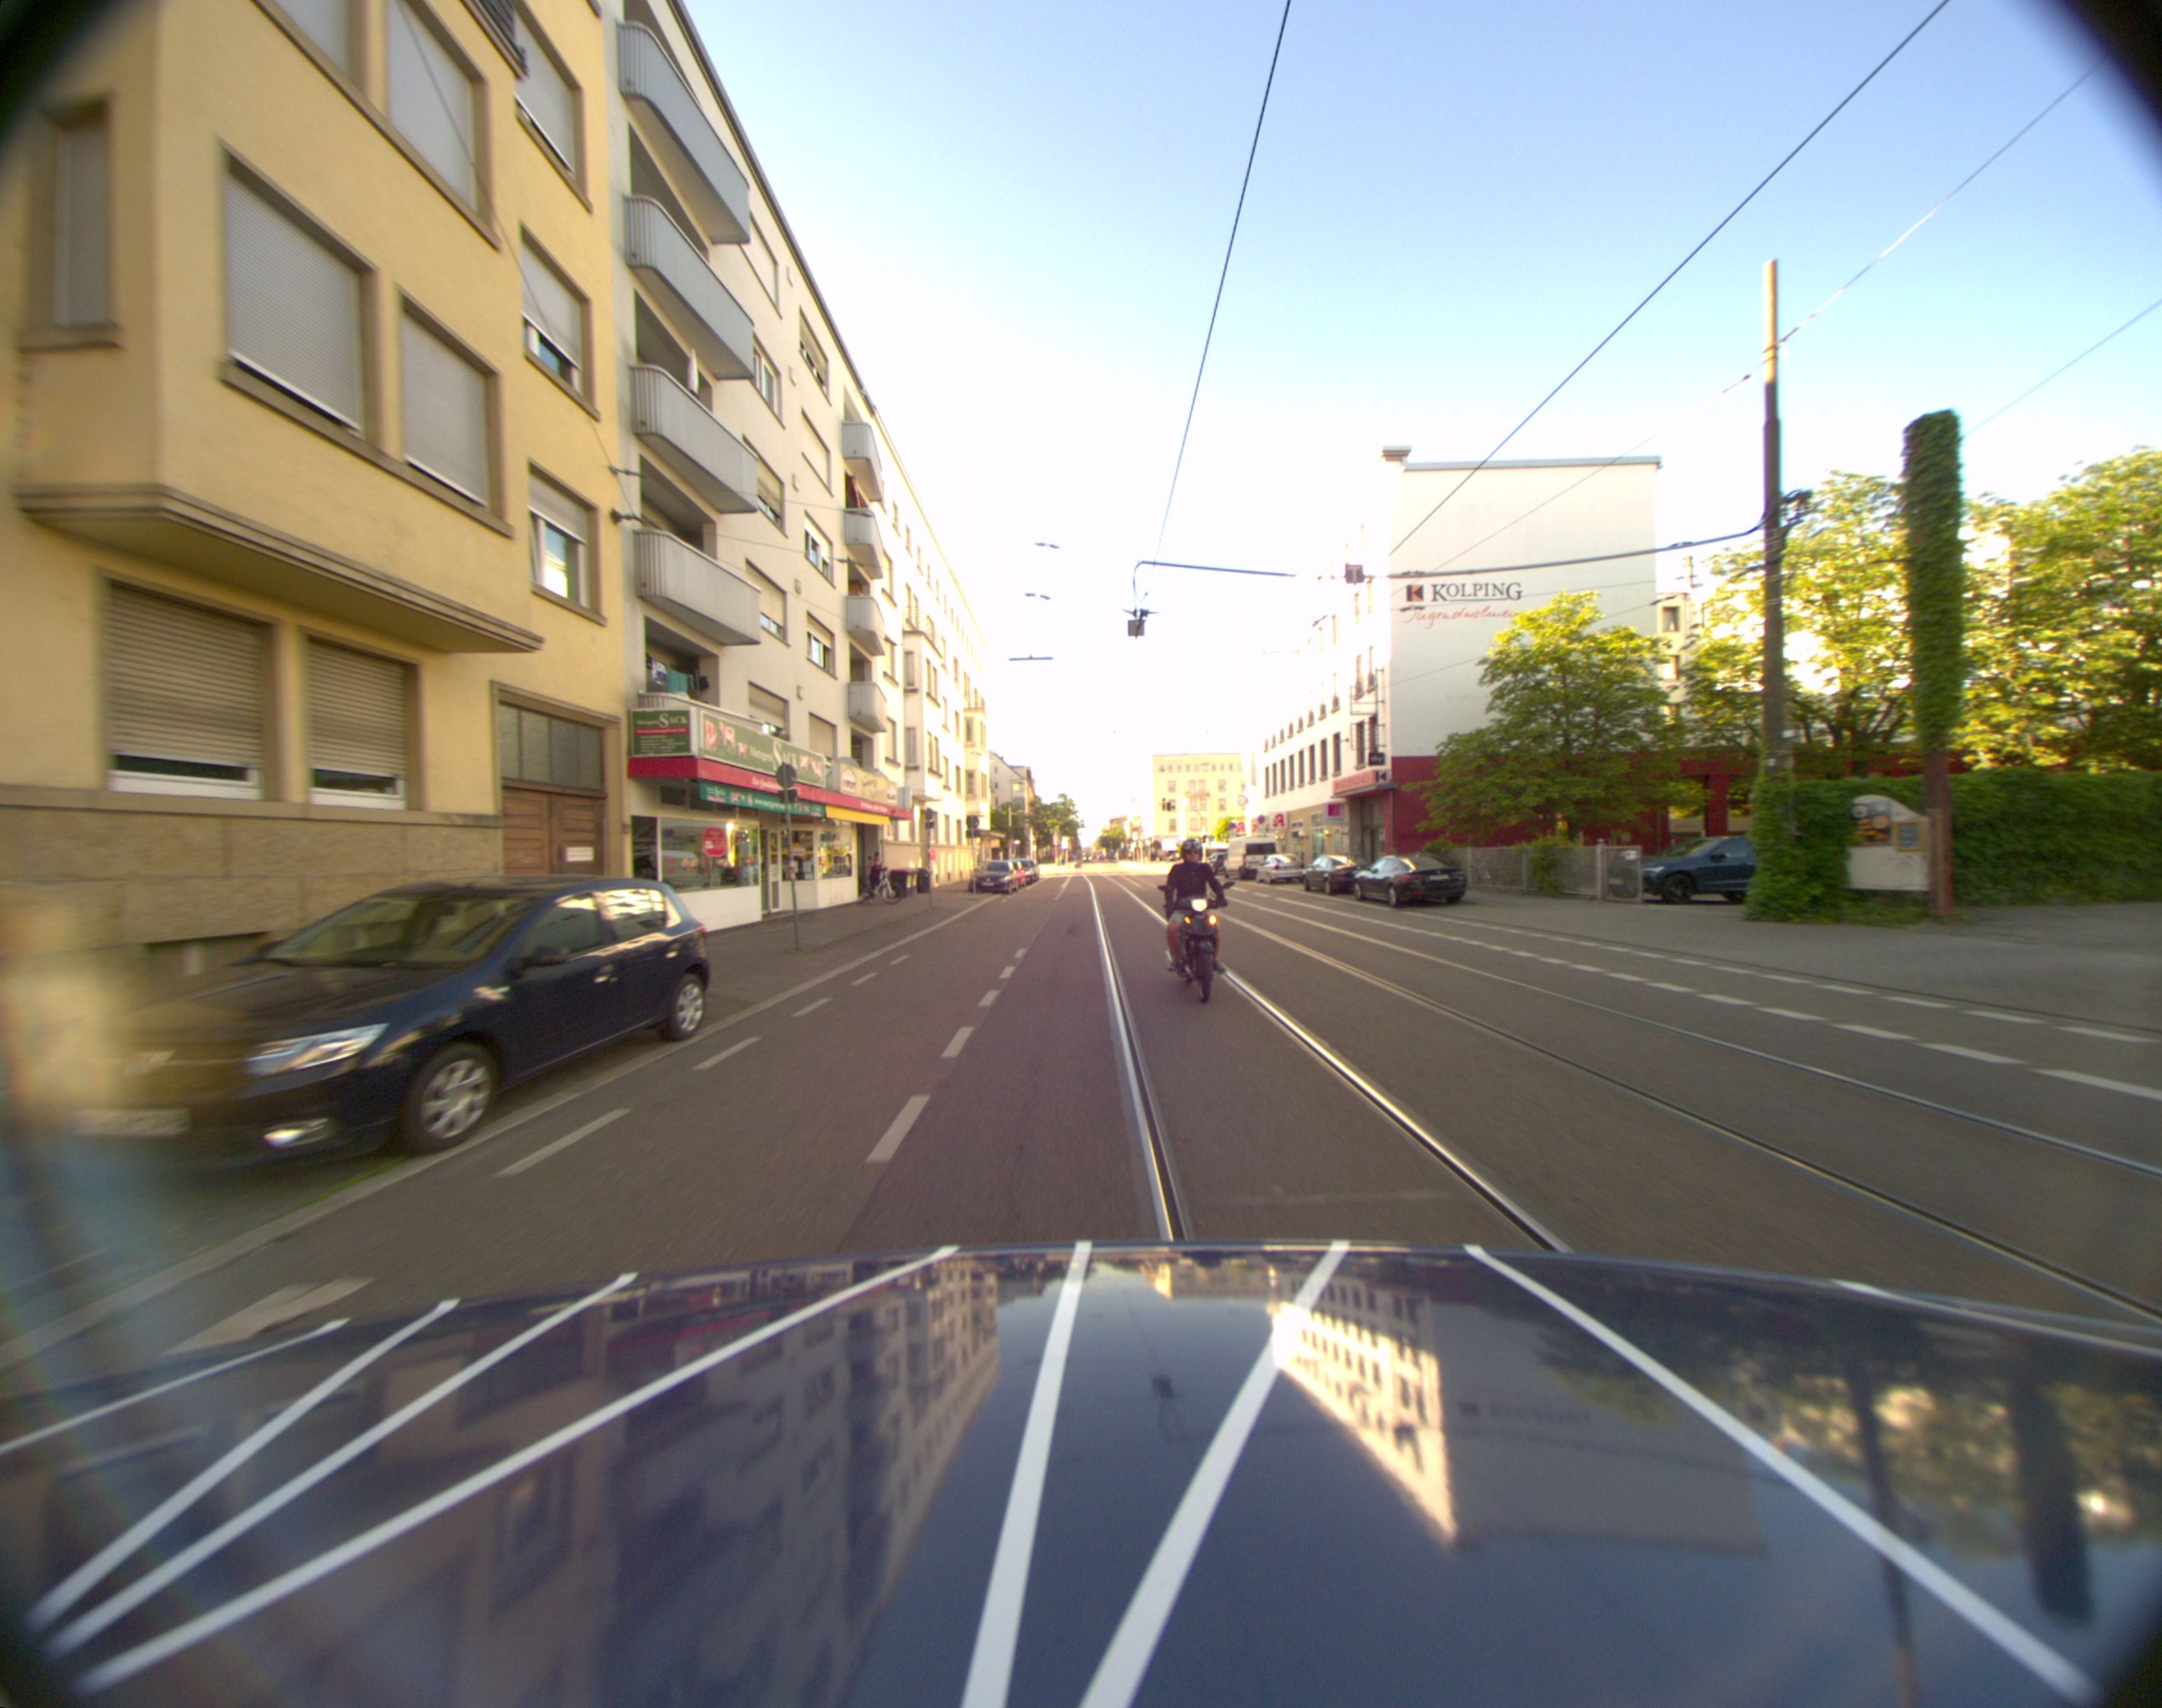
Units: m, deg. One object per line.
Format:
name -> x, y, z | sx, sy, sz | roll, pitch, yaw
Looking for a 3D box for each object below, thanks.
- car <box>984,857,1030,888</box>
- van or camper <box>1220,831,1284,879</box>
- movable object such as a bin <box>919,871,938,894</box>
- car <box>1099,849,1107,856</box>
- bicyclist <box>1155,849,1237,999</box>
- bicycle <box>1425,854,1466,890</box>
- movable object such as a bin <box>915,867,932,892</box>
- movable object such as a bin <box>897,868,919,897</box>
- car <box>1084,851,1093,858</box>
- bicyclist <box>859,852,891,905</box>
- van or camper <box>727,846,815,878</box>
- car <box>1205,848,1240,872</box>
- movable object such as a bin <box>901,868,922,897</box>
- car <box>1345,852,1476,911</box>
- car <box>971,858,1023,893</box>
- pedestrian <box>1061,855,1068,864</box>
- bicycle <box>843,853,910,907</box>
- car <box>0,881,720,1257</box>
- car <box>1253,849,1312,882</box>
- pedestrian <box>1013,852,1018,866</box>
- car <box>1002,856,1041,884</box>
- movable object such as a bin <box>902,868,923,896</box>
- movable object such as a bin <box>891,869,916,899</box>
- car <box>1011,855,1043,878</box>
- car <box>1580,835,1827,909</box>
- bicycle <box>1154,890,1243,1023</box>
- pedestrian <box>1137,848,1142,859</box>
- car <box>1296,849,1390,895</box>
car -> -3.778, 0.926, 39.570 | 1.861, 1.464, 3.988 | 1, 1, 2
van or camper -> 9.844, 0.043, 44.265 | 2.177, 2.453, 6.231 | -3, 0, 0
movable object such as a bin -> -6.350, 1.202, 31.633 | 0.657, 0.911, 0.569 | -2, 1, 0
car -> 5.601, -0.383, 190.119 | 1.970, 1.577, 4.000 | -2, 0, 2
bicyclist -> 1.229, 0.722, 8.270 | 0.774, 1.531, 0.939 | -1, 1, 4
bicycle -> 12.563, 0.593, 26.243 | 0.440, 1.168, 2.050 | -2, 1, 1
movable object such as a bin -> -6.681, 1.080, 32.278 | 0.560, 1.051, 0.554 | -2, 1, 0
movable object such as a bin -> -6.582, 1.093, 28.909 | 0.677, 1.066, 0.569 | -2, 1, 0
car -> 1.728, 0.049, 179.970 | 1.970, 1.577, 4.000 | -2, 0, 1
bicyclist -> -6.816, 0.809, 25.155 | 0.844, 1.692, 0.510 | -2, 1, 4
van or camper -> -28.800, 0.734, 70.812 | 6.927, 2.797, 2.922 | -1, 1, 3
car -> 10.057, 0.418, 54.234 | 1.787, 1.543, 3.992 | -3, 0, 2
movable object such as a bin -> -6.570, 1.102, 29.497 | 0.677, 1.066, 0.569 | -2, 1, 0
car -> 9.626, 0.724, 22.681 | 1.787, 1.437, 4.841 | -3, 0, 1
car -> -3.714, 0.918, 34.252 | 1.714, 1.399, 4.358 | 1, 1, 2
pedestrian -> -2.194, 0.721, 102.122 | 0.774, 1.197, 0.610 | -2, 1, -8
bicycle -> -6.742, 0.844, 25.133 | 1.935, 1.701, 0.775 | -2, 1, 4
car -> -4.391, 1.024, 5.350 | 1.722, 1.482, 4.001 | 0, 1, 1
car -> 9.820, 0.519, 37.409 | 1.787, 1.390, 4.445 | -3, 0, 2
pedestrian -> -9.474, 0.711, 110.020 | 0.650, 1.944, 0.583 | -2, 1, -16
car -> -3.451, 0.893, 44.774 | 1.861, 1.499, 4.095 | 1, 1, 2
movable object such as a bin -> -6.673, 1.089, 30.106 | 0.677, 1.066, 0.569 | -2, 1, 0
movable object such as a bin -> -6.589, 1.119, 28.236 | 0.772, 1.066, 0.617 | -2, 1, 0
car -> -3.789, 0.830, 54.266 | 1.752, 1.499, 4.919 | 1, 1, 2
car -> 15.107, 0.411, 18.654 | 4.372, 1.588, 2.000 | -2, 1, 2
bicycle -> 1.238, 1.053, 8.327 | 0.767, 1.191, 1.752 | -1, 1, 3
pedestrian -> 8.481, -0.099, 109.512 | 0.551, 1.482, 0.610 | -1, 1, -6
car -> 9.612, 0.608, 28.266 | 1.788, 1.472, 4.699 | -3, 0, 0
